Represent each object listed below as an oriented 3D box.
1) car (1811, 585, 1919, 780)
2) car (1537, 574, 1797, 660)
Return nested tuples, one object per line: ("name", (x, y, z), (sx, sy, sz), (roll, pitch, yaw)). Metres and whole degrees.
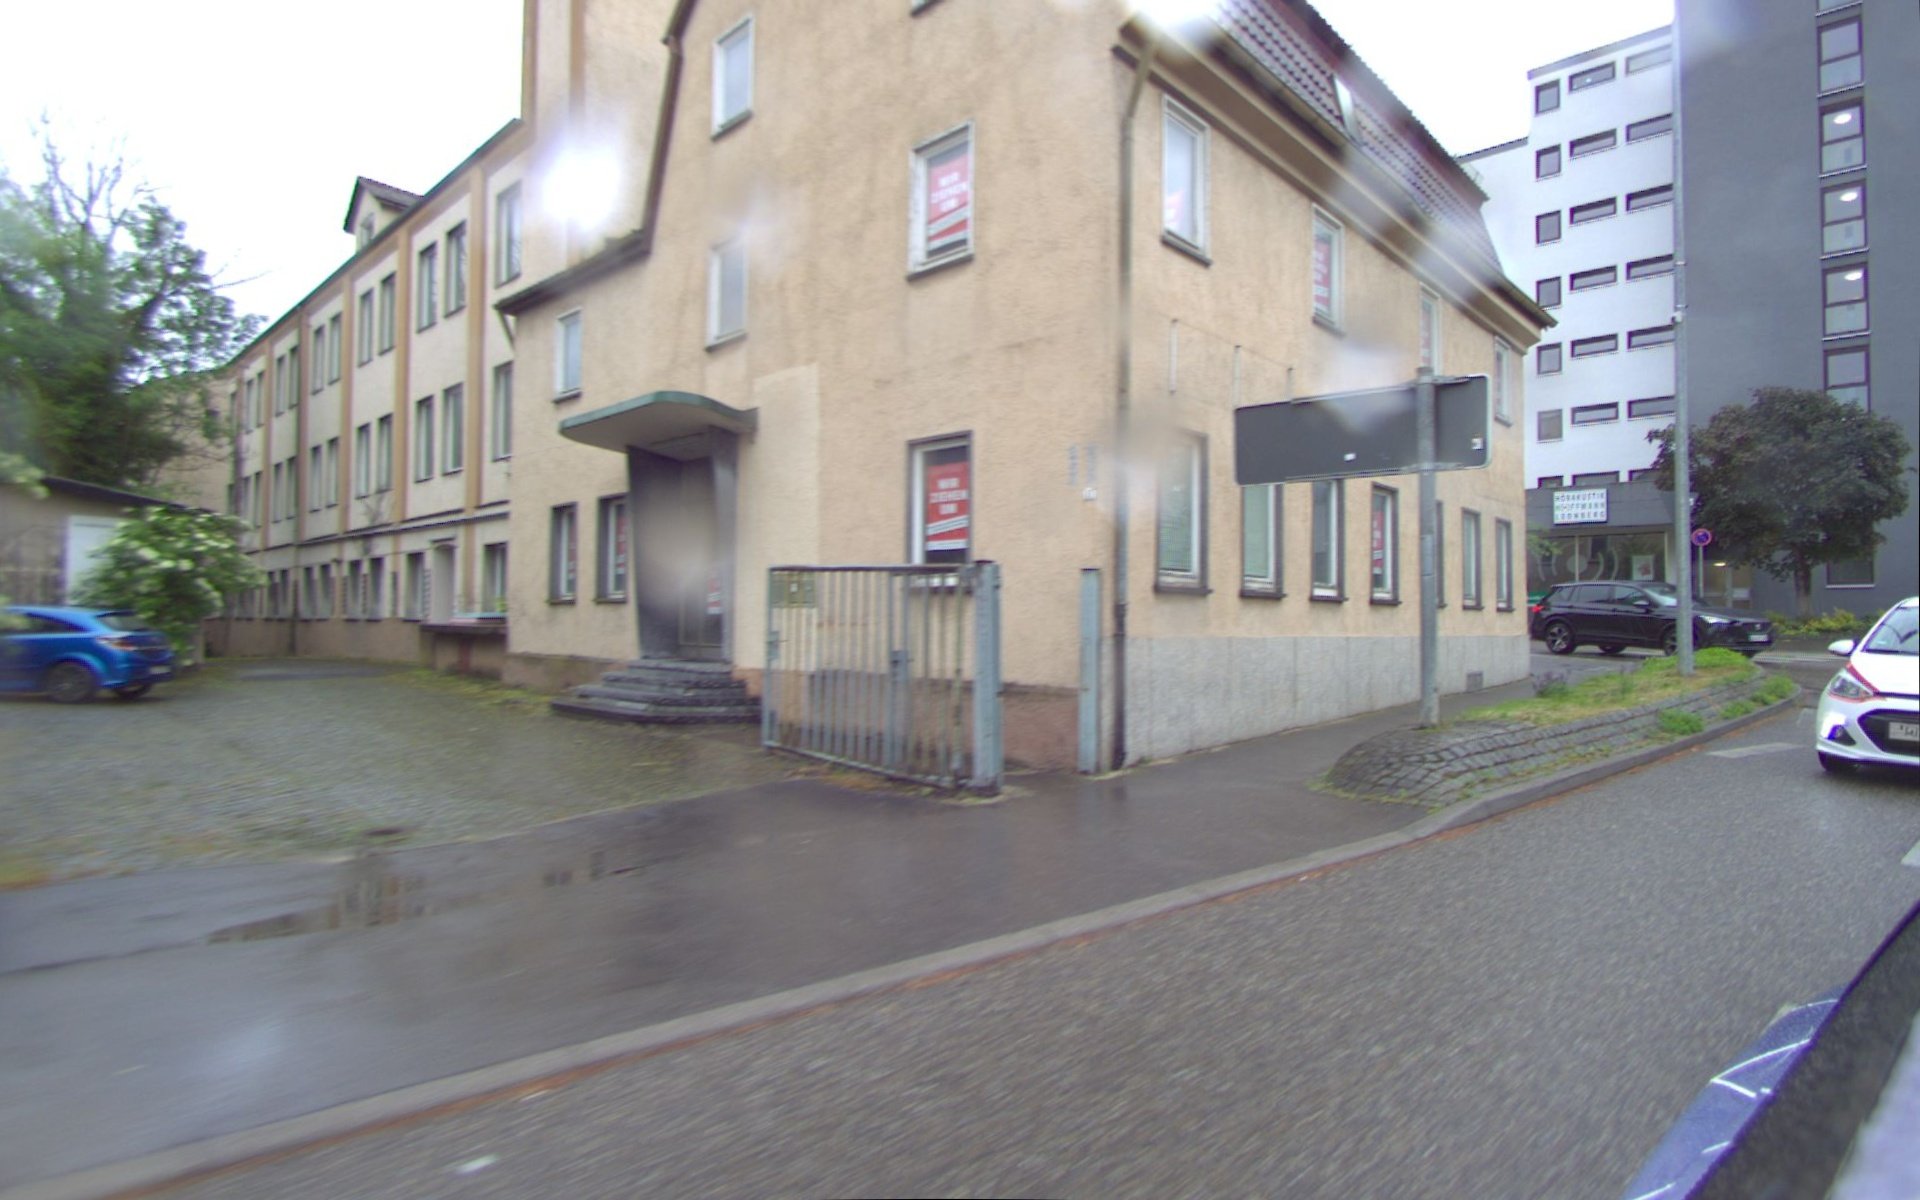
("car", (8.854, 0.603, 8.537), (3.692, 1.471, 1.712), (-1, 0, -36))
("car", (14.865, 0.262, 21.611), (1.683, 1.592, 4.429), (-2, 2, -18))
